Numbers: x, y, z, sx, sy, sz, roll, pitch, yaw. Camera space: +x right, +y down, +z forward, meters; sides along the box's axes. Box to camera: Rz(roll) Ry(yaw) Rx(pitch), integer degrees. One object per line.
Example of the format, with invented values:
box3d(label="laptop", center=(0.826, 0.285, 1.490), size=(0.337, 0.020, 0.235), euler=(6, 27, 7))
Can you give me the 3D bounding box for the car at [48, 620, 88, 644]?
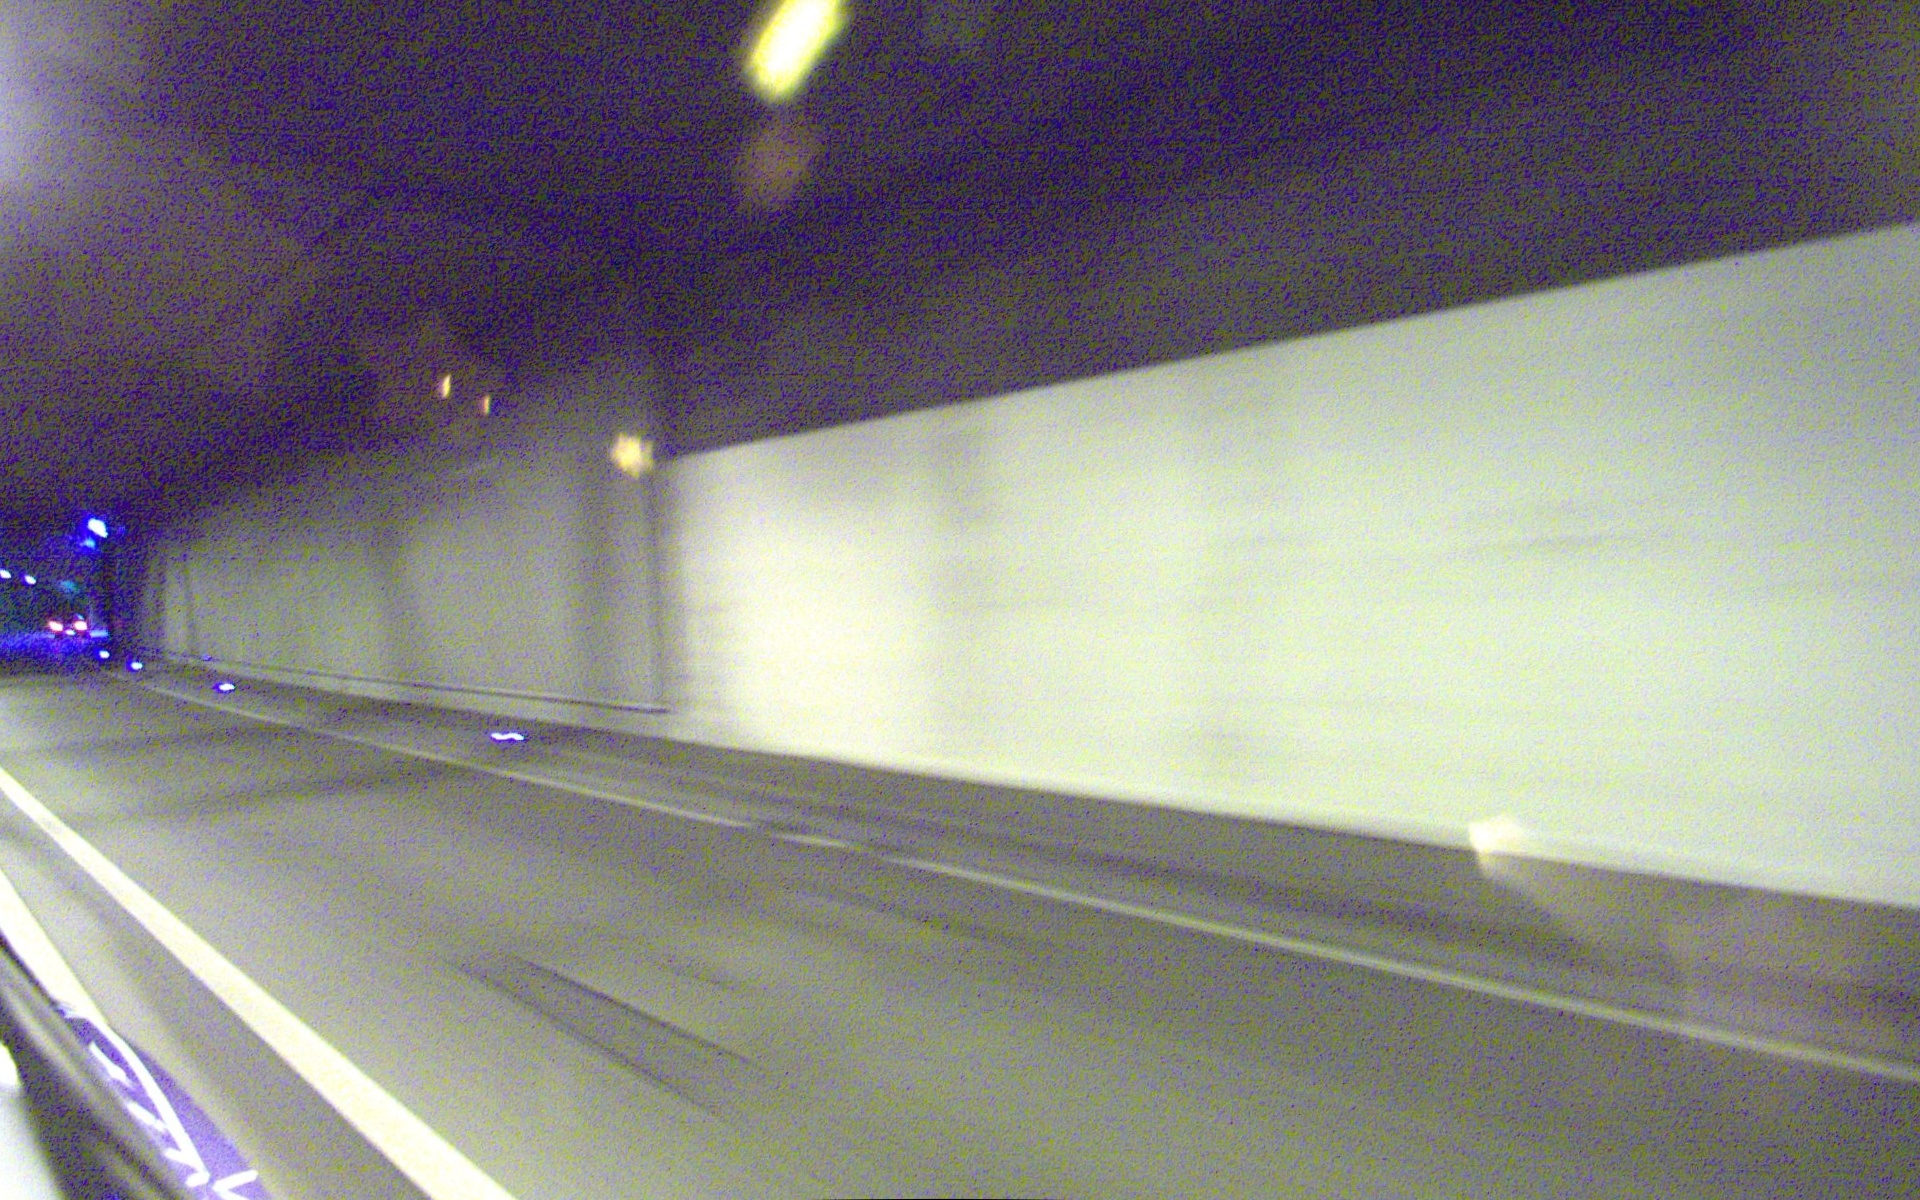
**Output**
box3d(label="car", center=(-59.342, 2.099, 67.386), size=(1.694, 1.453, 4.402), euler=(-2, 1, -38))
